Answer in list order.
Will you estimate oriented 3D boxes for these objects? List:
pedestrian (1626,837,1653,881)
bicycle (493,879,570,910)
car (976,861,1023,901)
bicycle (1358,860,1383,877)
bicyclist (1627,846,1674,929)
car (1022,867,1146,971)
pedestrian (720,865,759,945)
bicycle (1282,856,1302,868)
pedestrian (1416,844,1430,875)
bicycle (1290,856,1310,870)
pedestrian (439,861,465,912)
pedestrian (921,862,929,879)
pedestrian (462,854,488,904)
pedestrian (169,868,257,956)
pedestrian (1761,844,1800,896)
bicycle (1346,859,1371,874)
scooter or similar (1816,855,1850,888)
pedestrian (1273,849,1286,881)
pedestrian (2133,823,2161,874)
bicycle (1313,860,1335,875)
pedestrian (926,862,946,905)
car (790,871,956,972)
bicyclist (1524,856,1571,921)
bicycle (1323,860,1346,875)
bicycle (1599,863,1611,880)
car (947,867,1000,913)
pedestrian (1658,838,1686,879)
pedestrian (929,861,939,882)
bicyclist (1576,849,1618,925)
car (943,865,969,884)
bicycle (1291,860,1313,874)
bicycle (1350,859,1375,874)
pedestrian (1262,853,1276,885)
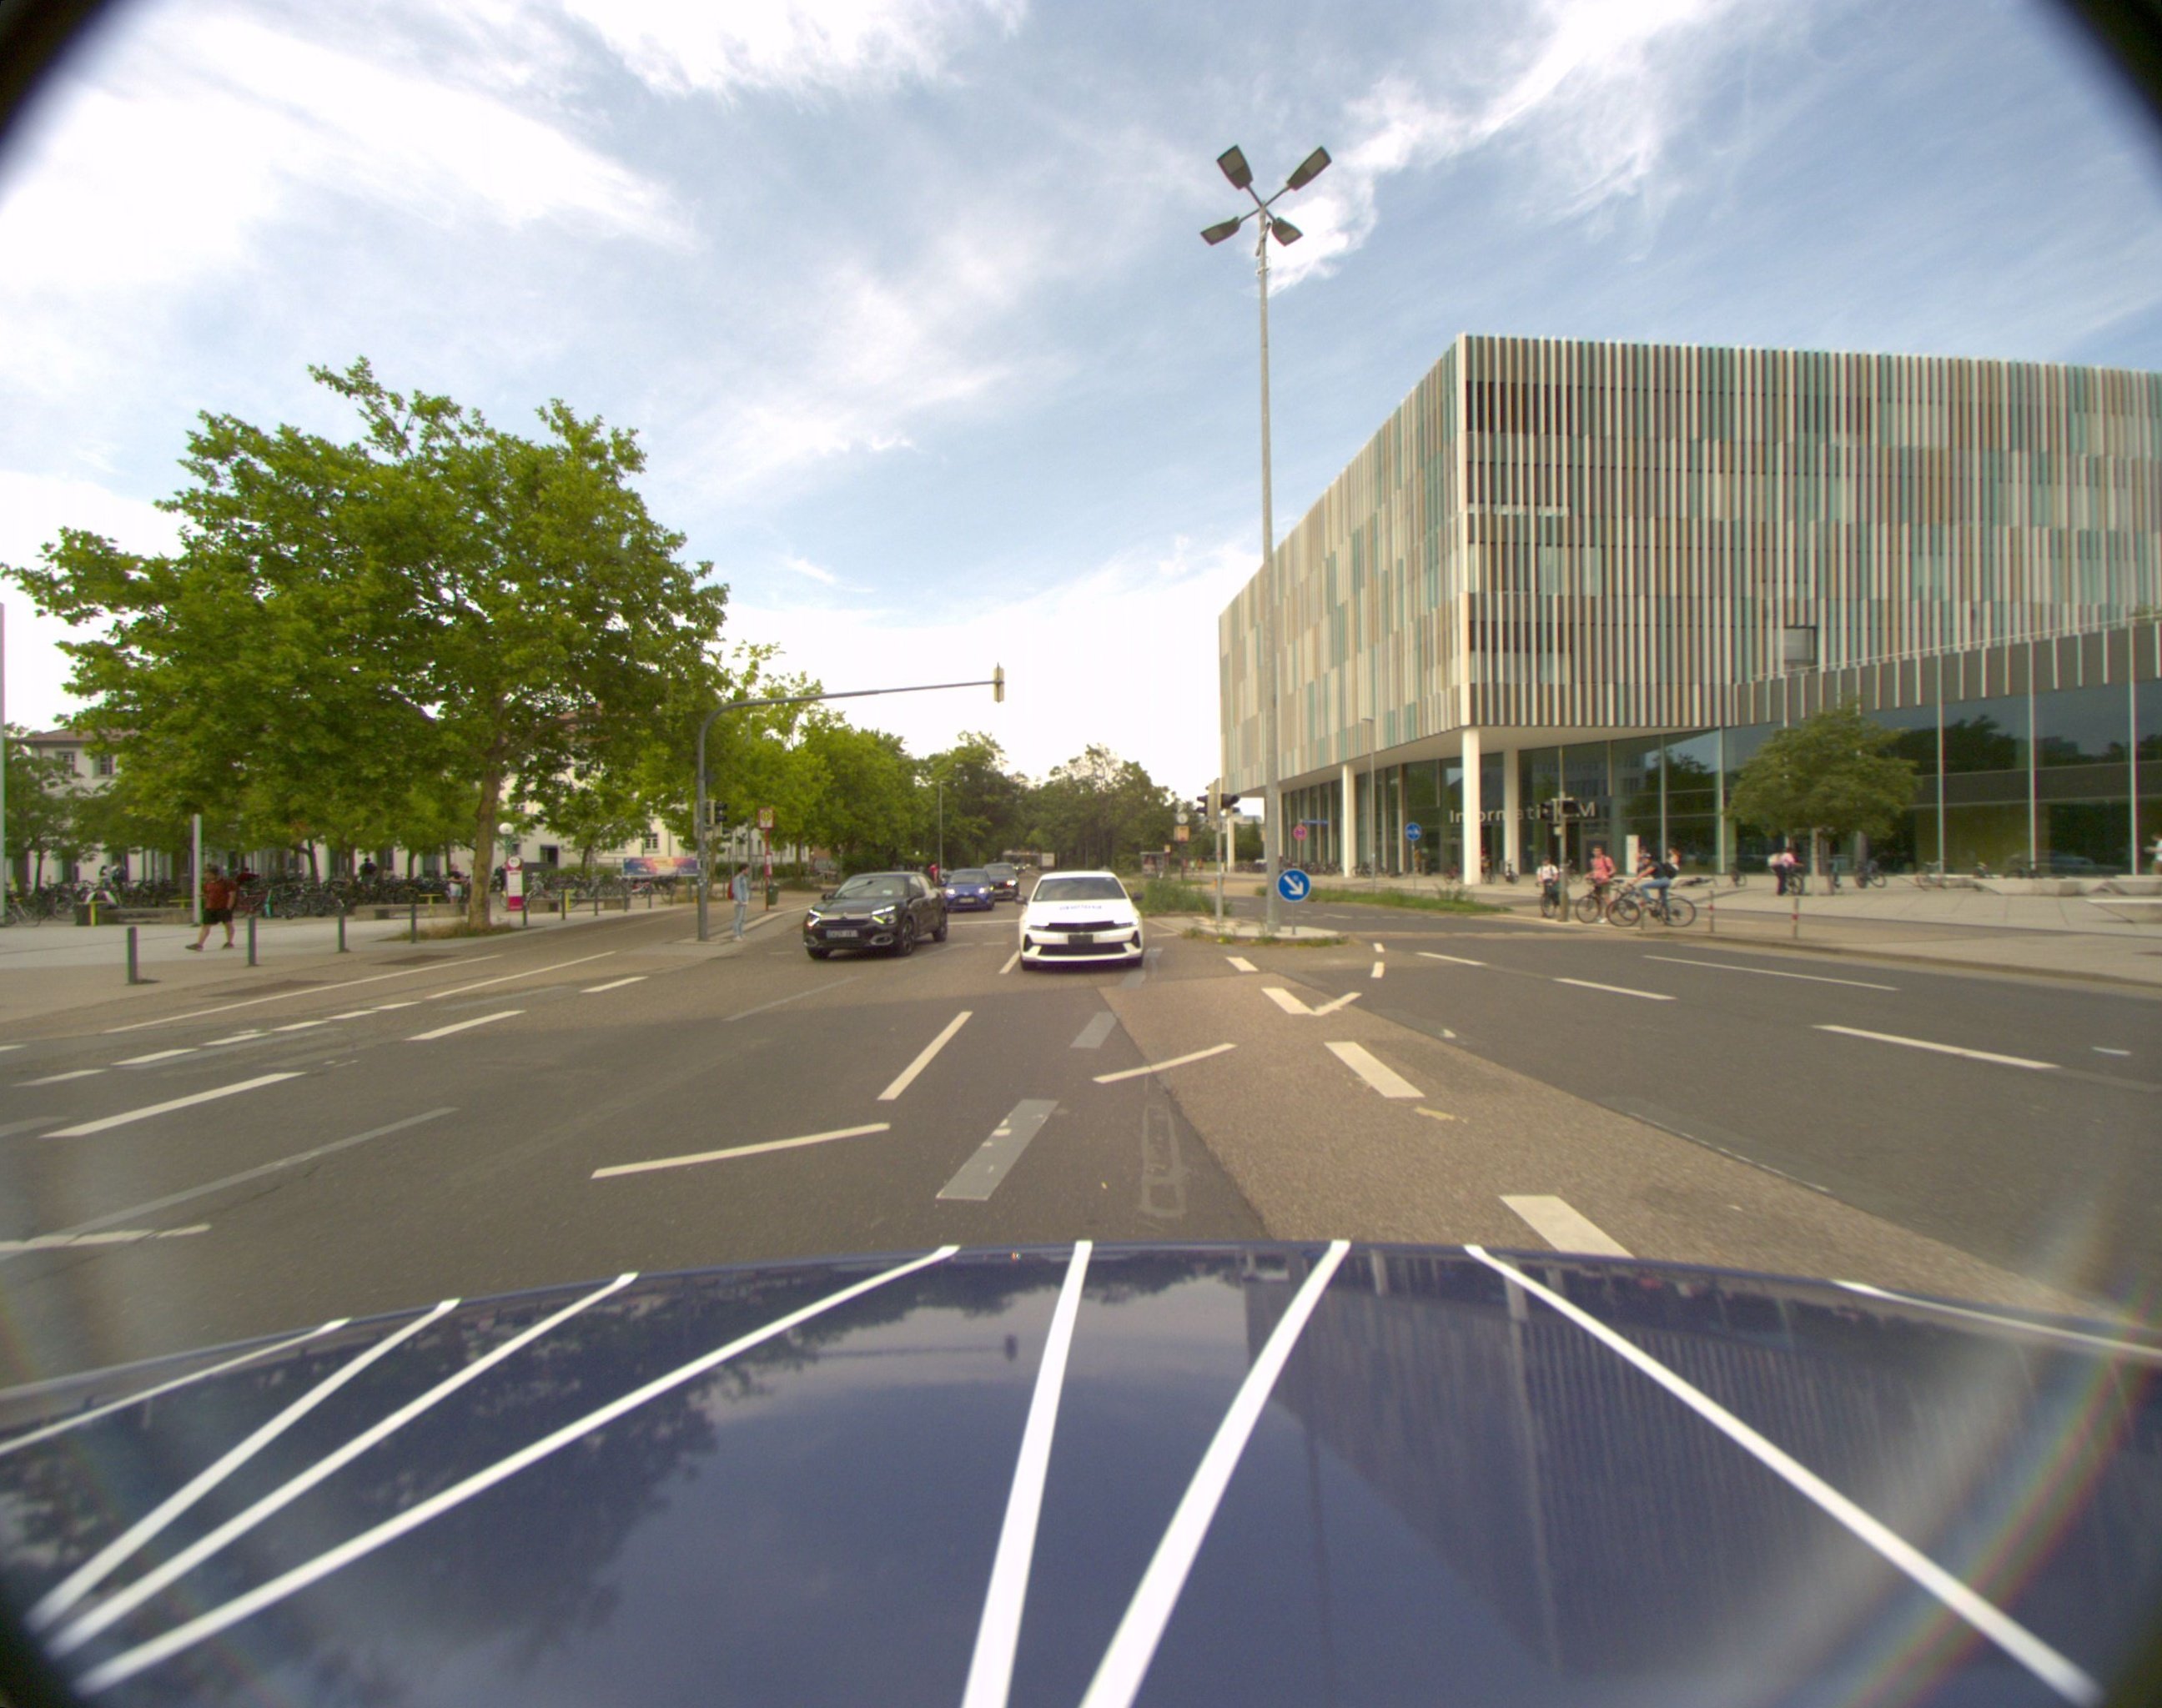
[{"bbox_3d":[22.306,0.207,30.361,0.731,1.730,0.677,-2,1,-38],"label":"pedestrian"},{"bbox_3d":[-22.157,1.629,30.676,2.473,1.136,0.717,-1,0,-3],"label":"bicycle"},{"bbox_3d":[-3.637,1.183,34.657,1.905,1.639,4.643,-2,0,-4],"label":"car"},{"bbox_3d":[19.015,0.960,49.905,1.546,0.989,0.399,-3,1,-9],"label":"bicycle"},{"bbox_3d":[12.834,0.738,17.129,0.602,1.796,0.561,-3,1,-19],"label":"bicyclist"},{"bbox_3d":[-0.128,0.997,13.612,1.745,1.430,4.780,-1,0,-5],"label":"car"},{"bbox_3d":[-7.998,1.180,17.805,0.574,1.806,0.681,-1,0,-2],"label":"pedestrian"},{"bbox_3d":[17.774,0.696,64.044,1.582,1.017,0.389,1,0,-10],"label":"bicycle"},{"bbox_3d":[22.536,0.390,50.083,0.512,2.031,0.624,-1,-1,-6],"label":"pedestrian"},{"bbox_3d":[18.145,0.753,63.014,1.582,1.017,0.389,-3,1,-10],"label":"bicycle"},{"bbox_3d":[-24.934,1.285,30.120,0.687,1.951,0.601,-3,1,-44],"label":"pedestrian"},{"bbox_3d":[-14.739,1.570,71.834,0.646,1.556,0.804,-1,0,-6],"label":"pedestrian"},{"bbox_3d":[-24.433,1.000,30.613,0.687,1.951,0.601,-3,1,-44],"label":"pedestrian"},{"bbox_3d":[-18.521,1.217,16.239,0.769,1.794,0.891,-2,1,0],"label":"pedestrian"},{"bbox_3d":[21.591,0.477,23.459,0.652,1.571,0.574,-1,0,0],"label":"pedestrian"},{"bbox_3d":[18.753,0.826,51.386,1.546,0.932,0.389,-3,1,-10],"label":"bicycle"},{"bbox_3d":[29.100,0.671,29.375,2.129,1.191,0.594,-1,0,-36],"label":"scooter or similar"},{"bbox_3d":[11.503,0.646,43.960,0.512,1.826,0.624,-1,-1,-5],"label":"pedestrian"},{"bbox_3d":[36.991,-0.190,26.246,0.635,1.768,0.598,-1,1,41],"label":"pedestrian"},{"bbox_3d":[18.612,1.016,58.280,1.582,1.017,0.389,-3,1,-10],"label":"bicycle"},{"bbox_3d":[-6.426,1.299,33.748,0.727,1.842,1.064,-1,0,-7],"label":"pedestrian"},{"bbox_3d":[-3.850,1.185,14.869,1.803,1.547,4.177,-3,0,4],"label":"car"},{"bbox_3d":[12.461,0.902,20.297,0.729,1.663,0.722,-3,1,-19],"label":"bicyclist"},{"bbox_3d":[18.776,0.972,56.222,1.582,1.017,0.389,-3,1,-10],"label":"bicycle"},{"bbox_3d":[24.267,0.807,35.200,0.393,0.669,1.799,-3,0,33],"label":"bicycle"},{"bbox_3d":[-3.879,1.252,27.960,1.704,1.485,3.830,-1,0,-5],"label":"car"},{"bbox_3d":[23.154,0.183,29.775,0.731,1.591,0.677,-2,1,-35],"label":"pedestrian"},{"bbox_3d":[-13.909,1.619,71.781,0.798,1.922,0.759,-1,0,-5],"label":"pedestrian"},{"bbox_3d":[12.580,0.796,18.536,0.602,1.796,0.561,-3,1,-19],"label":"bicyclist"},{"bbox_3d":[-9.583,1.568,58.586,1.704,1.361,3.830,-1,0,-5],"label":"car"},{"bbox_3d":[17.787,1.048,61.130,1.582,1.017,0.389,-3,1,-10],"label":"bicycle"},{"bbox_3d":[18.803,0.820,50.717,1.546,0.932,0.394,-3,1,-10],"label":"bicycle"},{"bbox_3d":[10.752,0.859,43.517,0.512,1.826,0.772,-1,-1,-5],"label":"pedestrian"}]
